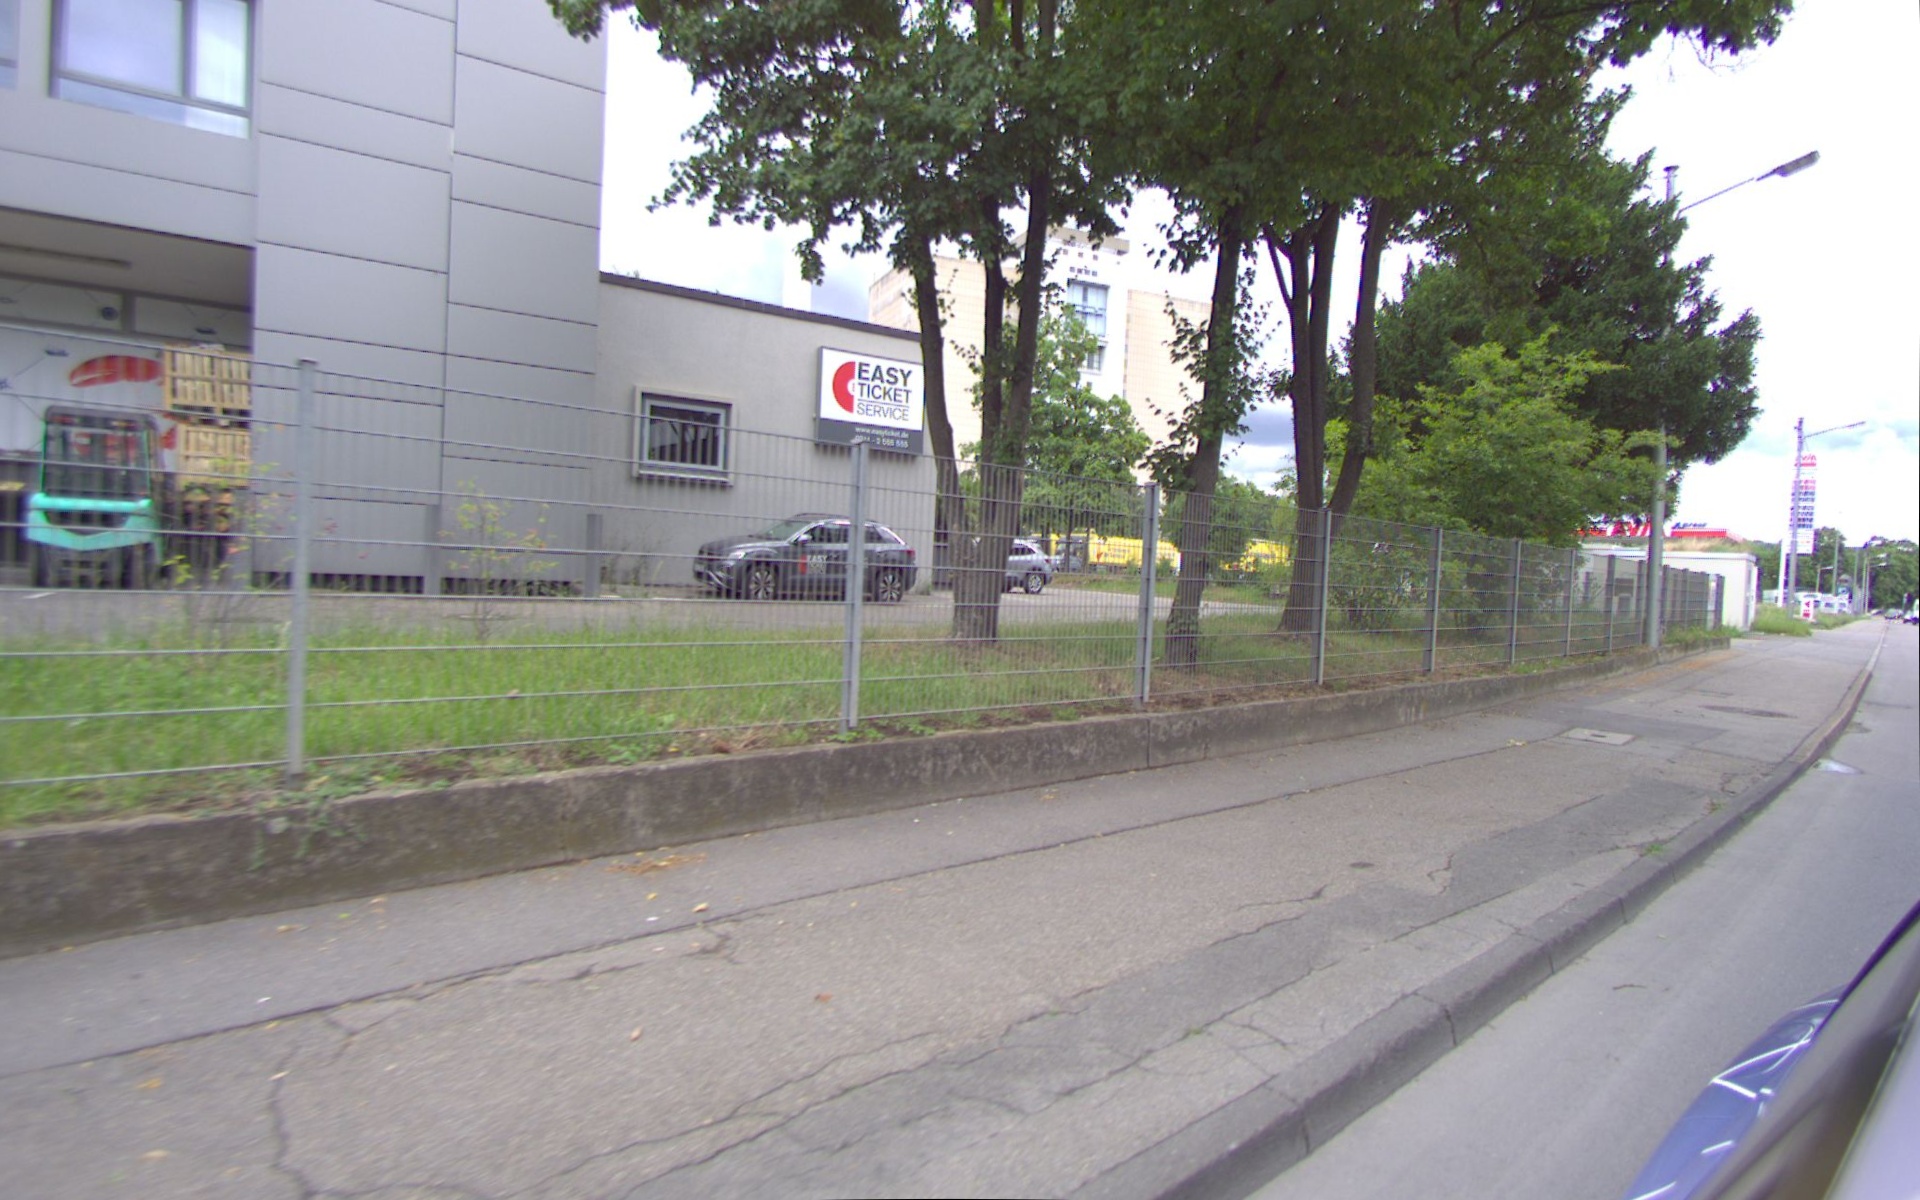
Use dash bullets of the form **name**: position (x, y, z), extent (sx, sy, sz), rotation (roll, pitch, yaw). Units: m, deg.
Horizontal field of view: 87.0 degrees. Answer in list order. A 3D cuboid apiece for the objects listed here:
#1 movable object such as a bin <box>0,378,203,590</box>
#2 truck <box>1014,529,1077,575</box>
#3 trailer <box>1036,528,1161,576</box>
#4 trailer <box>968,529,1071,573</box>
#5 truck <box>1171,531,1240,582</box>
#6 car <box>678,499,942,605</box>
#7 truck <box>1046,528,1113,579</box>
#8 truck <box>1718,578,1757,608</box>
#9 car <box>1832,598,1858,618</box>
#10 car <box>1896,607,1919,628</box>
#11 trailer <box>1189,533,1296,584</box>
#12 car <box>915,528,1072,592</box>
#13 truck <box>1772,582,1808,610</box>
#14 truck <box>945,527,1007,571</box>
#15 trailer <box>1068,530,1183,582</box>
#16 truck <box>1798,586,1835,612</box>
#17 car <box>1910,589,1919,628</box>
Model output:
- **movable object such as a bin**: position (-11.383, -1.444, 13.363), extent (1.914, 2.333, 4.004), rotation (2, 3, -33)
- **truck**: position (8.045, -4.445, 95.035), extent (2.690, 3.962, 5.948), rotation (5, 3, 42)
- **trailer**: position (14.295, -4.721, 101.970), extent (2.690, 3.962, 17.794), rotation (5, 3, 42)
- **trailer**: position (6.417, -4.975, 105.121), extent (2.690, 3.962, 13.479), rotation (5, 3, 42)
- **truck**: position (20.673, -3.656, 85.032), extent (2.957, 3.962, 5.948), rotation (5, 3, 42)
- **car**: position (-2.747, -0.869, 18.813), extent (4.354, 1.585, 2.003), rotation (2, 4, -33)
- **truck**: position (10.941, -4.178, 92.543), extent (3.044, 4.314, 5.948), rotation (5, 3, 42)
- **truck**: position (117.995, -1.085, 153.662), extent (2.844, 4.144, 6.703), rotation (4, 2, 24)
- **car**: position (115.882, 1.020, 132.529), extent (2.088, 2.445, 5.984), rotation (4, 2, 45)
- **car**: position (101.905, 1.875, 108.568), extent (1.705, 2.038, 3.835), rotation (4, 2, 38)
- **trailer**: position (25.428, -3.618, 90.322), extent (2.999, 3.962, 14.082), rotation (5, 3, 42)
- **car**: position (1.059, -1.228, 31.114), extent (4.352, 1.631, 2.003), rotation (3, 2, -31)
- **truck**: position (128.208, -0.631, 156.398), extent (2.850, 4.062, 6.690), rotation (5, 2, 28)
- **truck**: position (1.578, -5.002, 99.755), extent (2.690, 3.962, 5.948), rotation (5, 3, 42)
- **trailer**: position (16.407, -4.169, 98.570), extent (3.020, 4.312, 15.484), rotation (5, 3, 42)
- **truck**: position (133.115, -0.212, 157.364), extent (2.850, 3.674, 6.690), rotation (5, 2, 28)
- **car**: position (92.094, 0.912, 95.175), extent (3.327, 3.652, 8.544), rotation (4, 2, 40)
